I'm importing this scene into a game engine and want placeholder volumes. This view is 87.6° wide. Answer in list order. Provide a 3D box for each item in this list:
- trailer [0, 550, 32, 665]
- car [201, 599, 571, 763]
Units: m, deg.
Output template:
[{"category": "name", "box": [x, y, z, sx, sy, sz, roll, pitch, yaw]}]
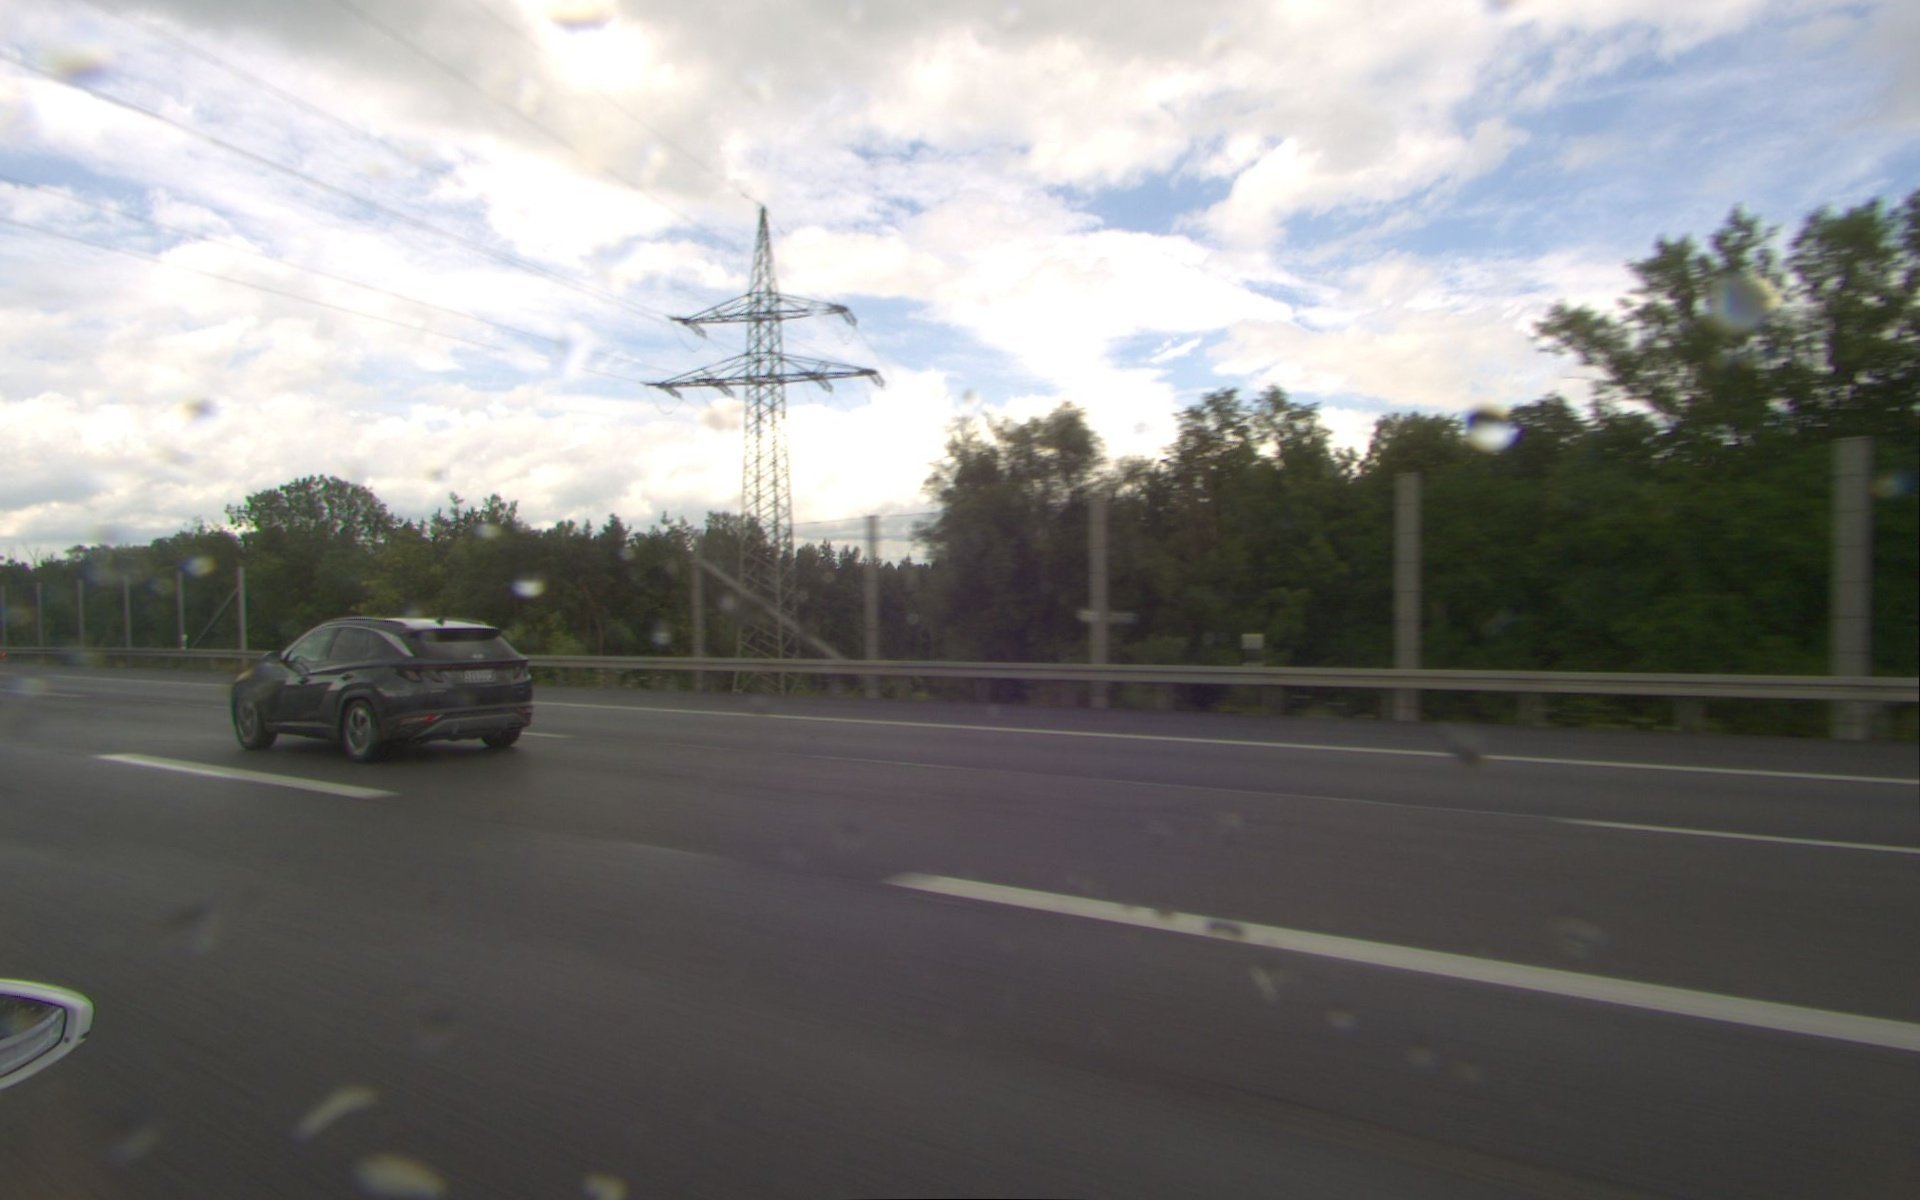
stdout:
[{"category": "trailer", "box": [-40.500, 0.323, 39.194, 11.669, 4.230, 3.327, -1, -1, 33]}, {"category": "car", "box": [-7.378, 0.915, 12.716, 4.936, 1.721, 2.041, -1, -2, 33]}]
